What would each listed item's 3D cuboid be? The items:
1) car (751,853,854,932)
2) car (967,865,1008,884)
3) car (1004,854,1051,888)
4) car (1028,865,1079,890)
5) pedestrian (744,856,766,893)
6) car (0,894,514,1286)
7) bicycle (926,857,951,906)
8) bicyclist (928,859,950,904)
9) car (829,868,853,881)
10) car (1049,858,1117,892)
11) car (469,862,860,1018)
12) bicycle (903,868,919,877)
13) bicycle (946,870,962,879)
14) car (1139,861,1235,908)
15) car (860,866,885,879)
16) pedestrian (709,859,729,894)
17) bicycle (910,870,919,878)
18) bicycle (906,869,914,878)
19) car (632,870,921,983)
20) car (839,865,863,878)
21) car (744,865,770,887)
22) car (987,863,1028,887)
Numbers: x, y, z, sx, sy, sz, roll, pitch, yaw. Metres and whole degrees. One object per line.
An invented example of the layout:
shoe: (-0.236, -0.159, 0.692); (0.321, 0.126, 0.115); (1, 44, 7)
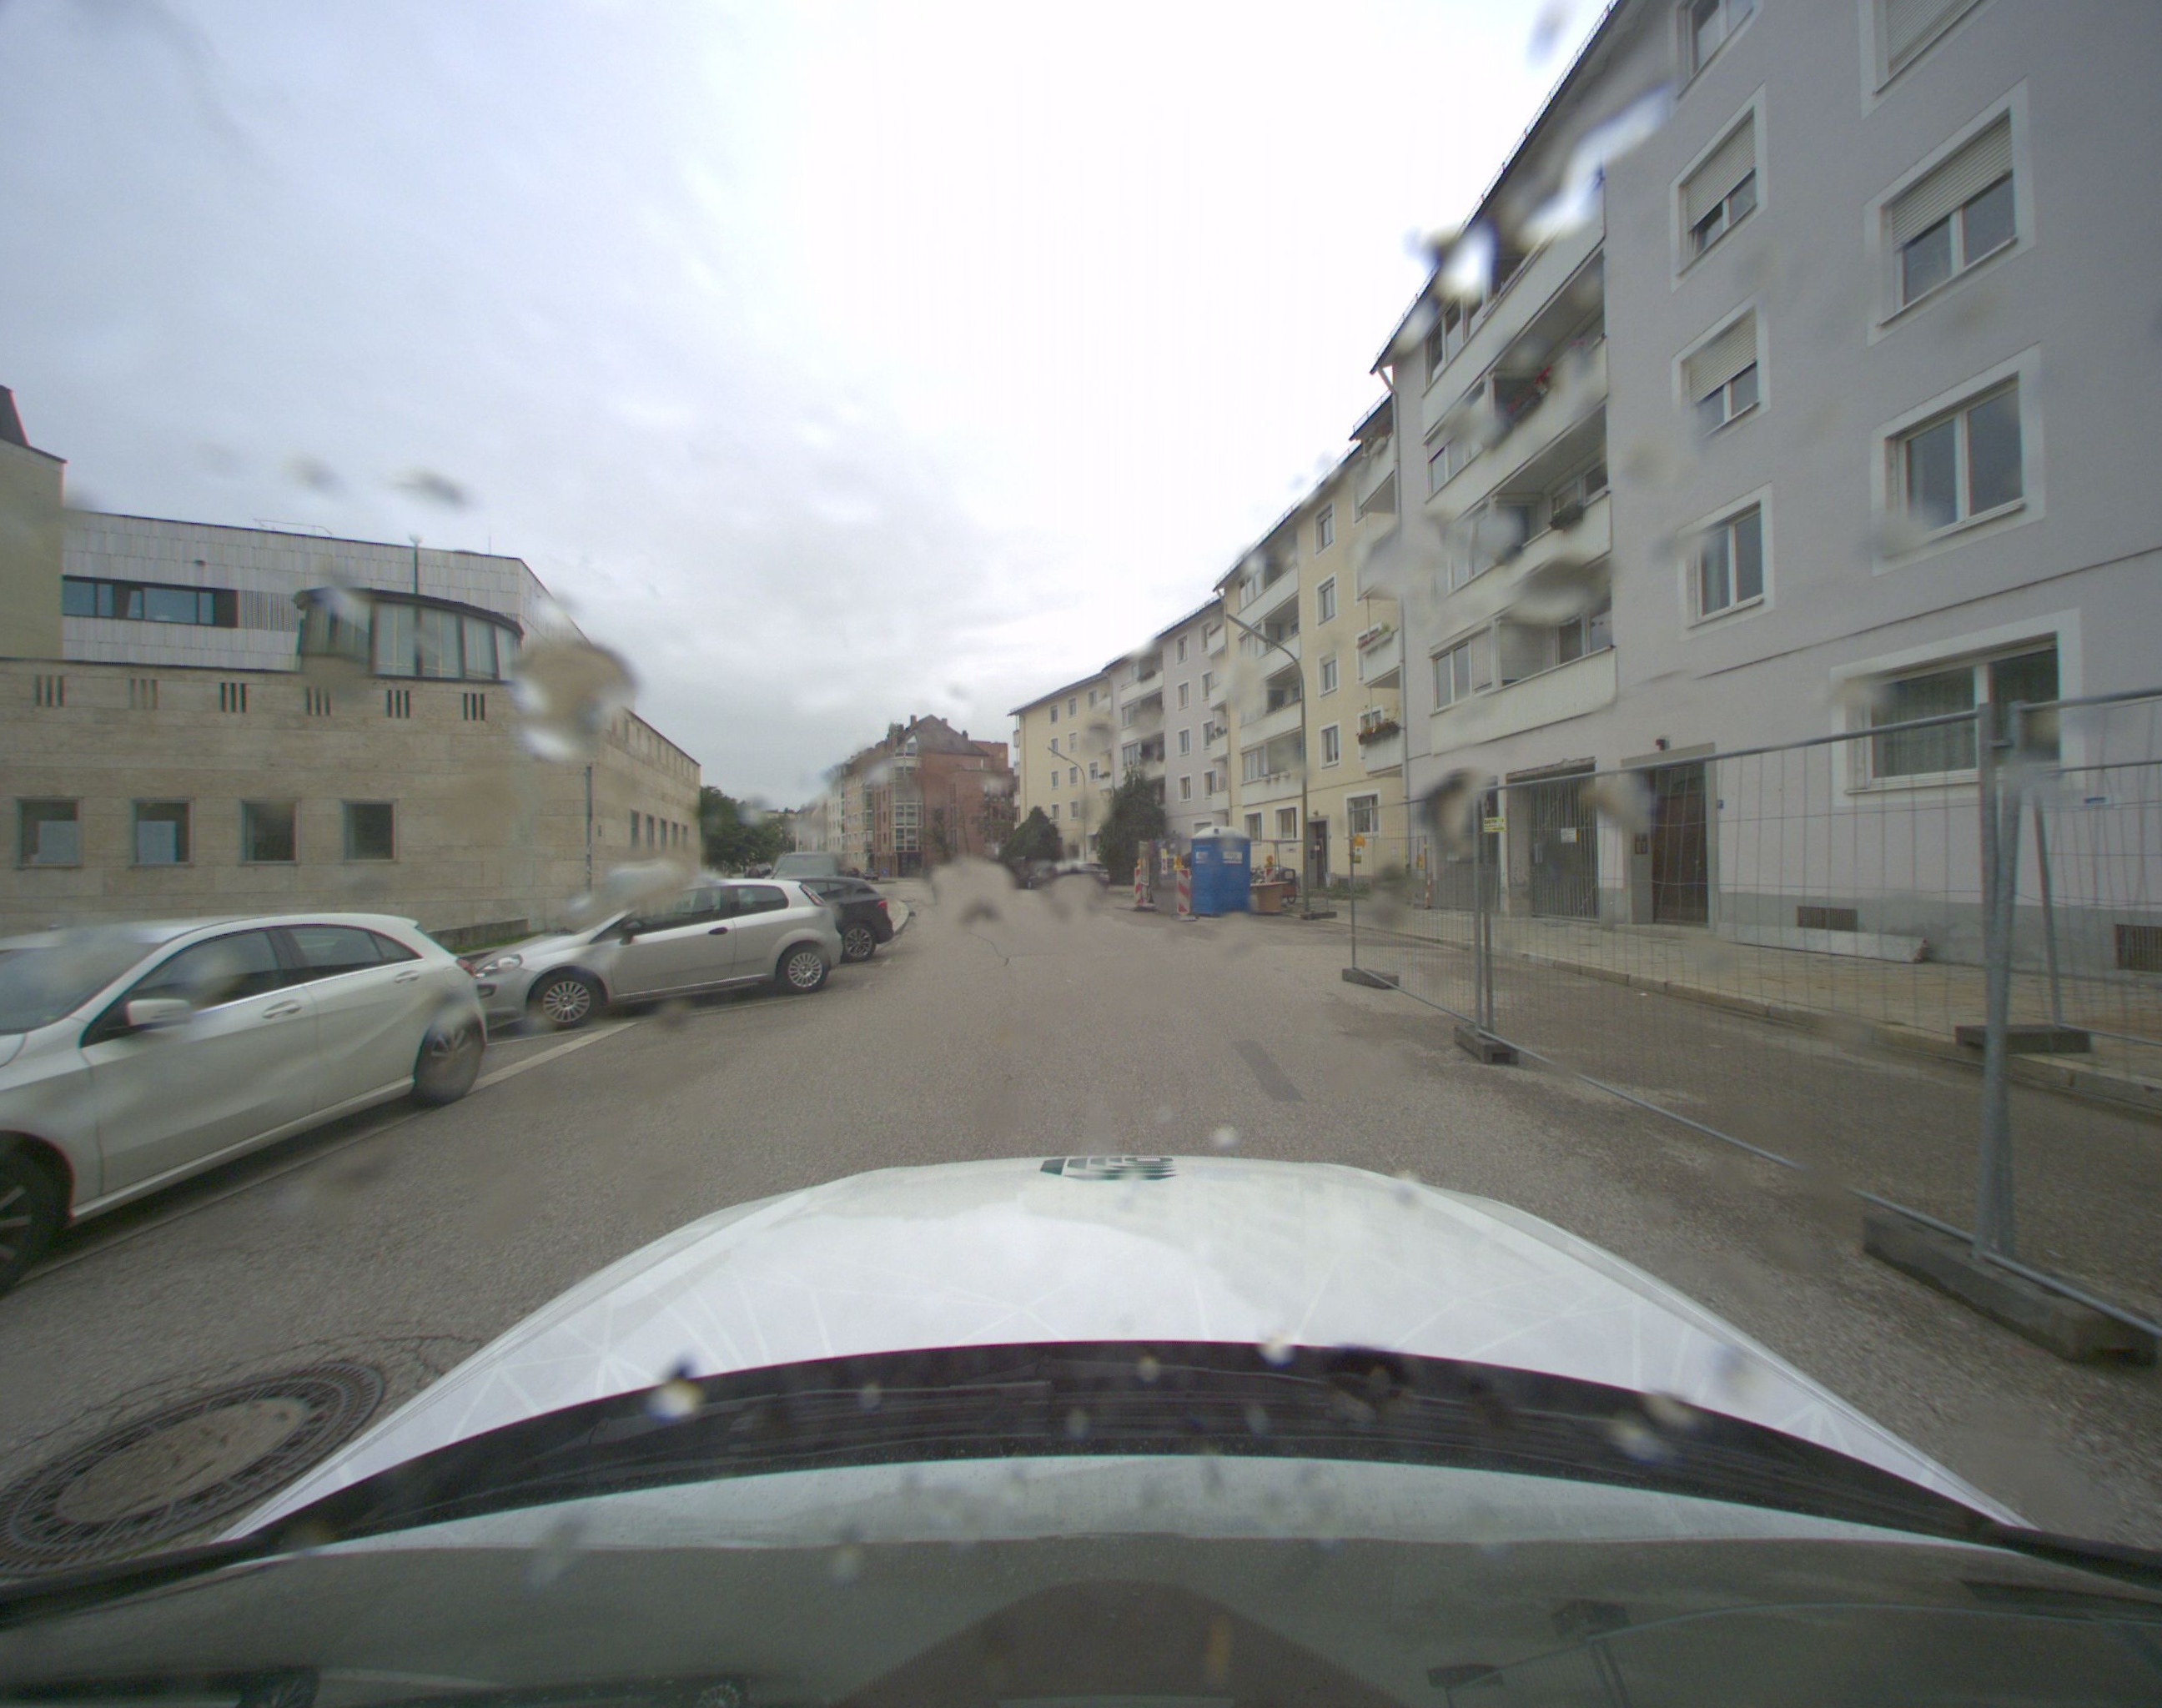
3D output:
car: (-7.107, 0.908, 21.234); (1.996, 1.772, 4.793); (-1, 0, -13)
car: (-7.048, 1.565, 61.085); (1.764, 1.396, 4.008); (1, -3, -27)
car: (-3.432, 1.048, 51.745); (1.754, 2.082, 4.484); (1, -1, -21)
car: (-1.612, 1.373, 47.106); (1.666, 1.349, 3.773); (1, -2, -24)
pedestrian: (-15.595, 0.959, 38.933); (0.794, 1.740, 0.817); (1, -1, -11)
car: (-5.216, 1.059, 4.199); (1.824, 1.387, 4.134); (-5, 0, -5)
bicycle: (-5.572, 1.031, 31.980); (0.795, 1.722, 3.106); (-3, 1, -8)
bicyclist: (-5.533, 1.058, 31.774); (0.747, 1.717, 1.029); (-2, 0, -8)
car: (-31.755, 2.730, 107.588); (1.977, 1.602, 4.625); (1, -1, -31)
car: (0.010, 1.059, 42.470); (2.034, 1.678, 4.580); (1, -1, -21)
car: (-4.935, 0.892, 9.930); (4.001, 1.530, 1.657); (1, -1, -37)
bicycle: (-21.127, 2.318, 101.430); (1.855, 1.147, 0.484); (1, -1, -22)
bicycle: (-13.920, 2.222, 89.369); (1.710, 0.966, 0.541); (1, -1, -27)
car: (3.490, 0.968, 27.654); (1.832, 1.442, 4.610); (1, -1, -12)
car: (-24.069, 2.146, 93.896); (1.935, 1.512, 4.352); (1, -2, -27)
pedestrian: (-16.523, 1.018, 37.162); (0.598, 1.601, 0.648); (0, -1, 44)
bicycle: (-21.128, 2.517, 103.218); (0.489, 1.060, 1.976); (1, -2, -30)
bicycle: (-21.617, 2.493, 102.947); (0.489, 1.060, 1.976); (1, -2, -30)
car: (-4.867, 1.072, 13.307); (4.028, 1.373, 1.729); (-3, -1, -40)
car: (-29.140, 2.206, 103.160); (1.842, 1.602, 4.224); (1, -1, -31)
car: (-42.554, 2.917, 106.954); (2.436, 2.715, 5.897); (-2, -1, -29)
car: (-5.151, 1.457, 56.585); (1.664, 1.566, 4.482); (1, -2, -21)
